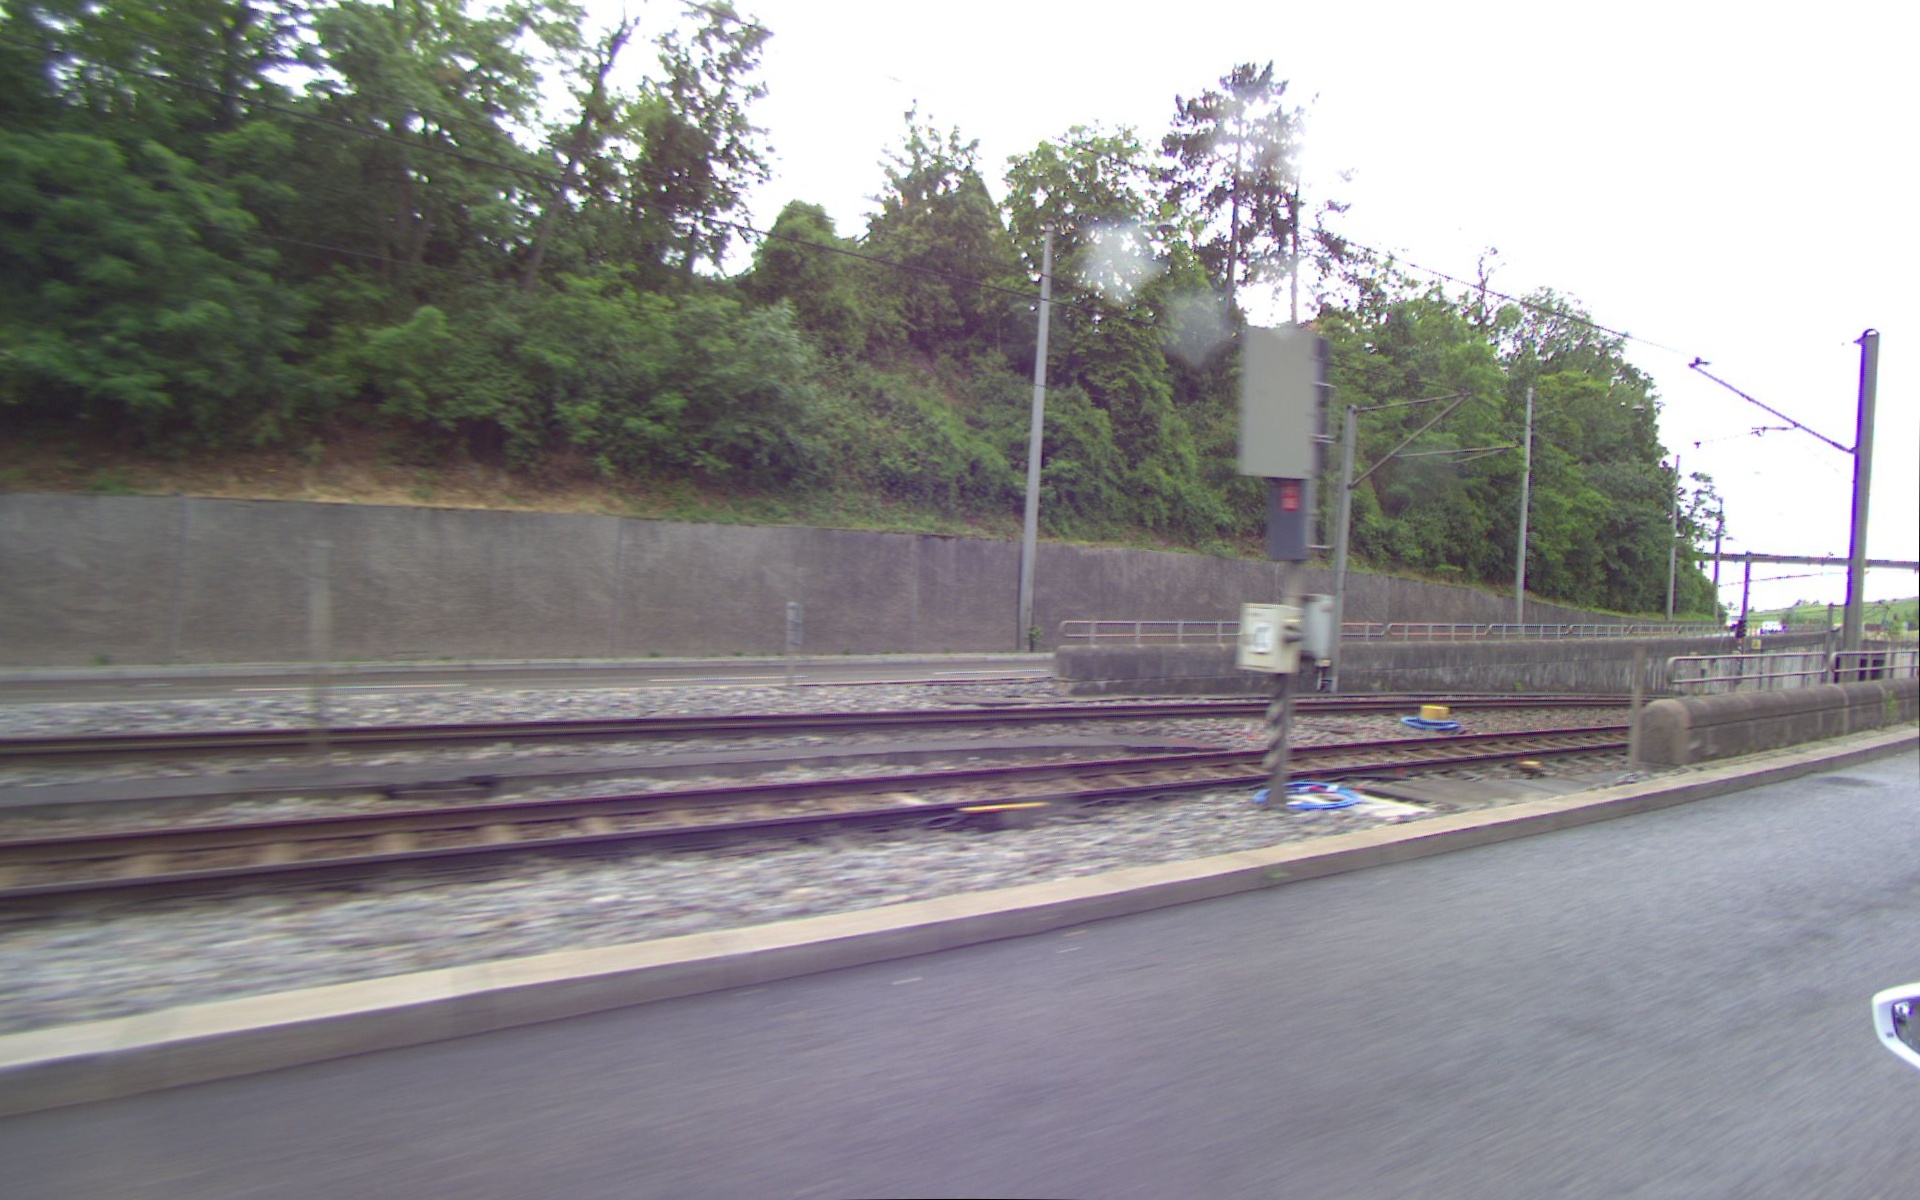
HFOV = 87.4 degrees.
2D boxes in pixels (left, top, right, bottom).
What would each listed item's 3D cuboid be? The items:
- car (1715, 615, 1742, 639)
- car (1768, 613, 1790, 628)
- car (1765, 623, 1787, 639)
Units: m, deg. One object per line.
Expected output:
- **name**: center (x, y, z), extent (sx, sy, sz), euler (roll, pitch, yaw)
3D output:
- **car**: center (93.665, 3.292, 122.426), extent (2.157, 2.771, 6.313), euler (1, -1, 41)
- **car**: center (99.553, 2.498, 122.104), extent (1.938, 1.773, 4.123), euler (1, -1, 39)
- **car**: center (93.128, 3.559, 114.617), extent (1.797, 1.726, 4.090), euler (1, -1, 41)
